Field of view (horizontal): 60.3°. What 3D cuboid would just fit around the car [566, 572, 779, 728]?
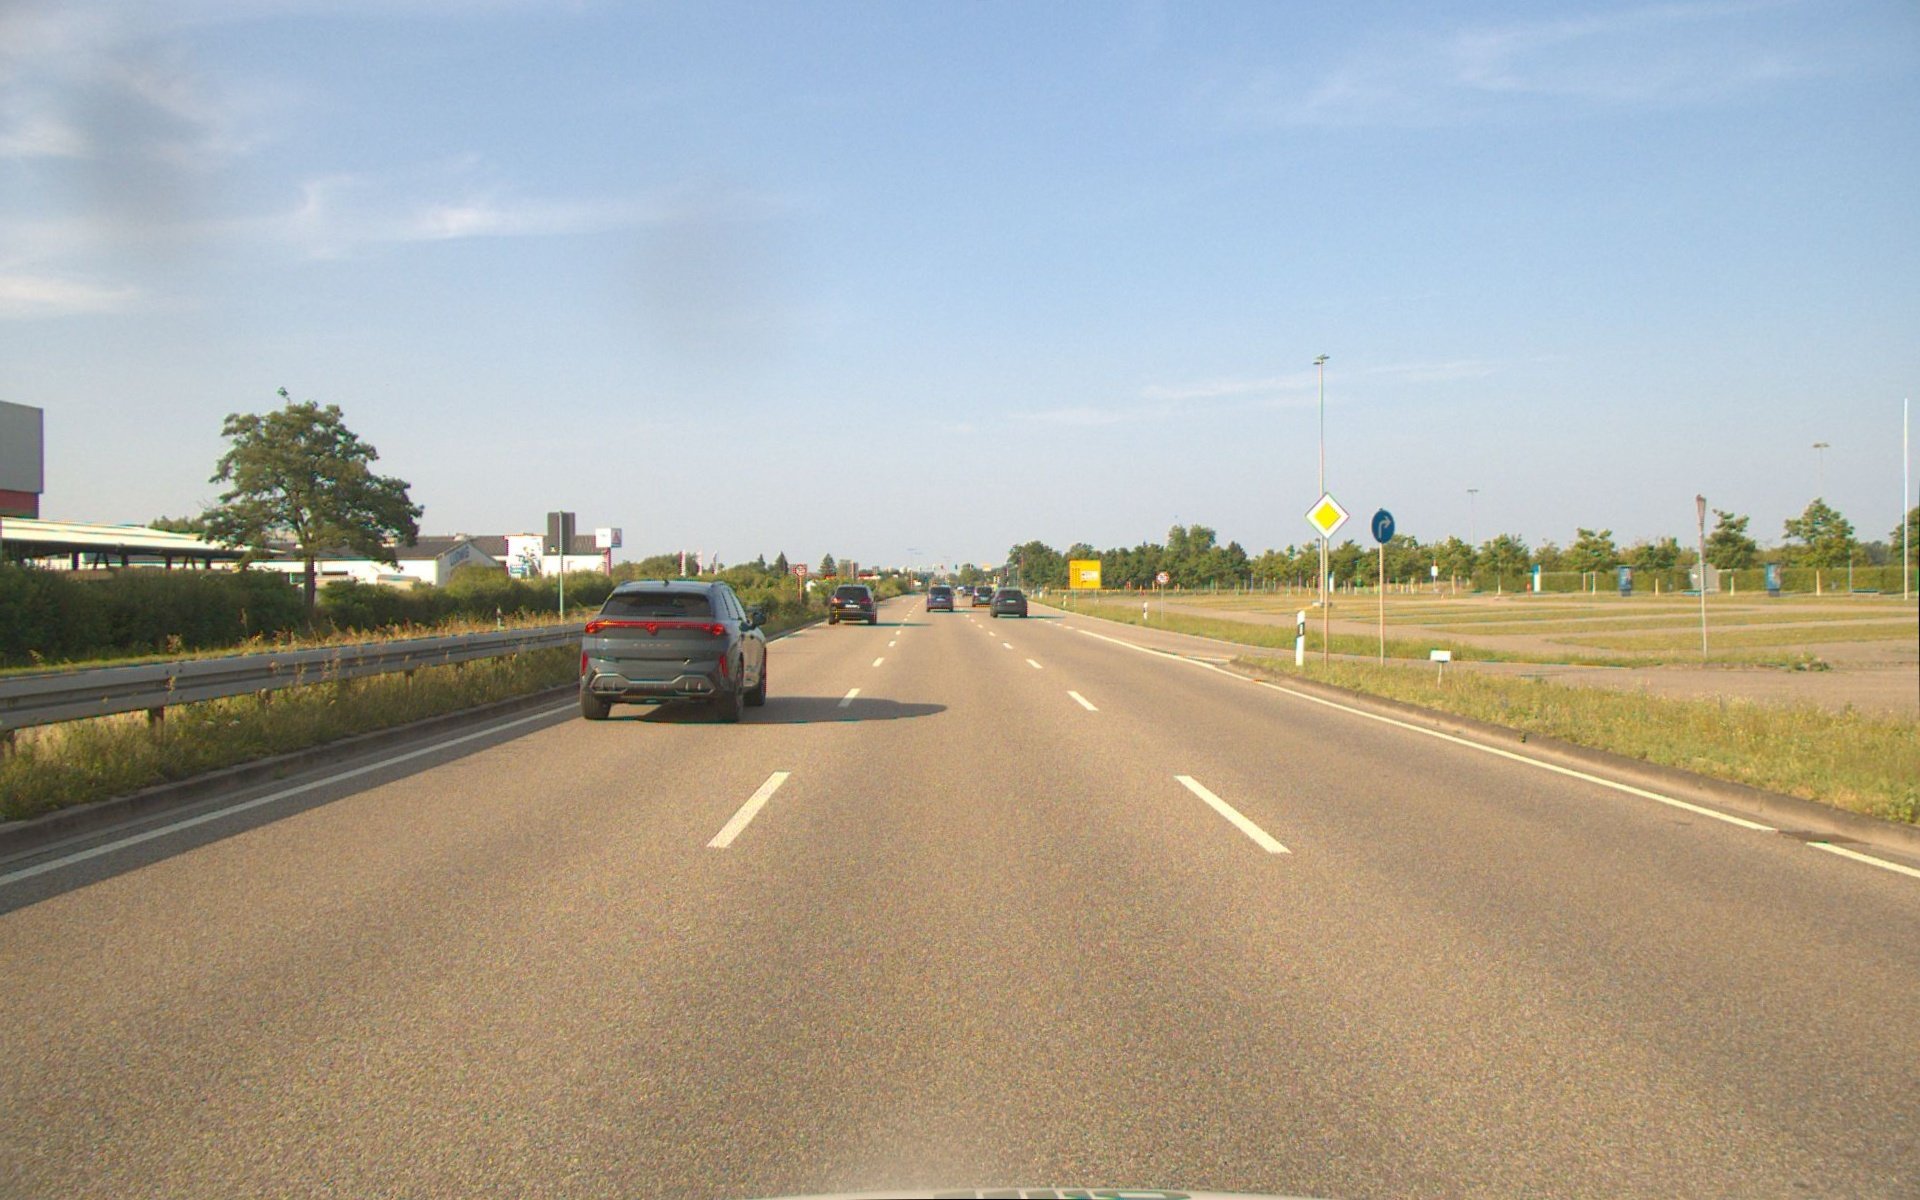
[{"bbox_3d":[-3.361,0.519,20.185,1.808,1.640,4.400,2,0,0],"label":"car"}]

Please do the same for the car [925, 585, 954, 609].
[{"bbox_3d":[-1.317,-0.206,108.011,1.776,1.488,4.400,2,1,0],"label":"car"}]

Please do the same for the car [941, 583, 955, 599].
[{"bbox_3d":[-1.423,-1.047,190.963,1.612,1.758,3.400,1,0,-1],"label":"car"}]

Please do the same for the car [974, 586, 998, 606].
[{"bbox_3d":[2.055,-0.298,131.180,1.835,1.488,3.980,2,0,0],"label":"car"}]

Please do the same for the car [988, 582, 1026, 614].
[{"bbox_3d":[2.617,-0.138,92.994,1.893,1.709,4.400,2,0,0],"label":"car"}]

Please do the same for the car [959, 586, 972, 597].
[{"bbox_3d":[0.675,-1.030,204.211,1.472,1.336,3.156,2,0,0],"label":"car"}]

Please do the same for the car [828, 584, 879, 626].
[{"bbox_3d":[-4.540,0.184,70.852,1.893,1.709,4.400,2,0,0],"label":"car"}]
